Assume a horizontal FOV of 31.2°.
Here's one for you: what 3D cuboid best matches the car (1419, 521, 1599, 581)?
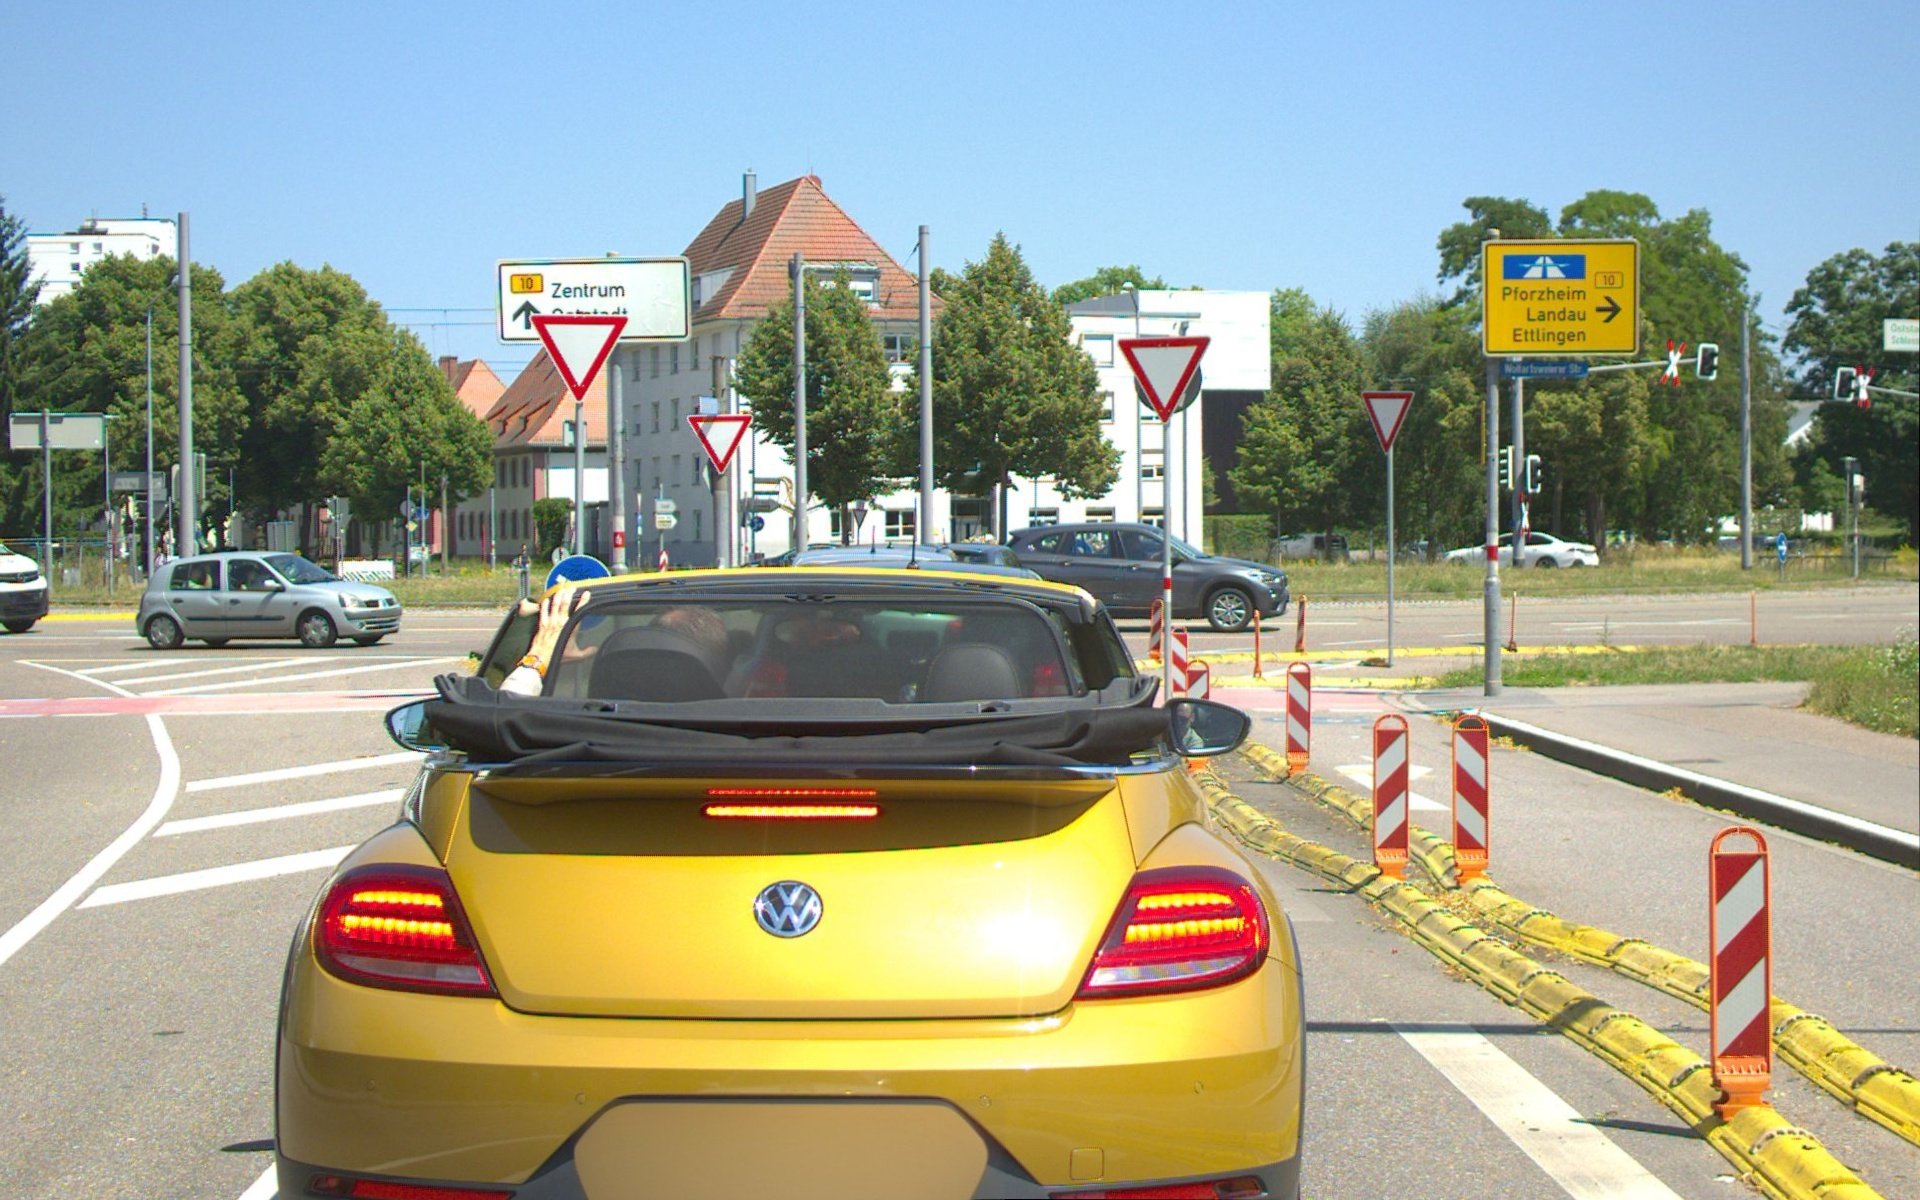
[{"bbox_3d":[17.162,-1.522,107.535,5.172,1.780,2.023,-1,1,32],"label":"car"}]

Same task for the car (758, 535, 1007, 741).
[{"bbox_3d":[-0.564,0.235,26.120,1.736,1.437,4.000,0,1,-1],"label":"car"}]

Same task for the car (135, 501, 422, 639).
[{"bbox_3d":[-9.738,-0.420,49.142,3.669,1.843,1.631,-1,0,19],"label":"car"}]

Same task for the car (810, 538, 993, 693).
[{"bbox_3d":[-0.585,0.115,34.897,1.736,1.472,4.000,0,1,-1],"label":"car"}]

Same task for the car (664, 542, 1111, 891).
[{"bbox_3d":[-0.325,0.454,16.295,1.848,1.437,4.000,0,1,-1],"label":"car"}]

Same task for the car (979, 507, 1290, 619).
[{"bbox_3d":[2.612,-0.559,50.835,4.434,1.590,1.999,1,1,8],"label":"car"}]

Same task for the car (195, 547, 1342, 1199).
[{"bbox_3d":[-0.325,0.606,7.162,1.752,1.417,3.778,0,1,-1],"label":"car"}]

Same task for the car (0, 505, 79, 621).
[{"bbox_3d":[-17.141,-0.635,56.571,4.977,1.843,1.997,1,1,25],"label":"car"}]

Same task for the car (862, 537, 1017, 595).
[{"bbox_3d":[-0.647,-1.135,112.566,4.916,1.780,2.026,-1,1,4],"label":"car"}]
